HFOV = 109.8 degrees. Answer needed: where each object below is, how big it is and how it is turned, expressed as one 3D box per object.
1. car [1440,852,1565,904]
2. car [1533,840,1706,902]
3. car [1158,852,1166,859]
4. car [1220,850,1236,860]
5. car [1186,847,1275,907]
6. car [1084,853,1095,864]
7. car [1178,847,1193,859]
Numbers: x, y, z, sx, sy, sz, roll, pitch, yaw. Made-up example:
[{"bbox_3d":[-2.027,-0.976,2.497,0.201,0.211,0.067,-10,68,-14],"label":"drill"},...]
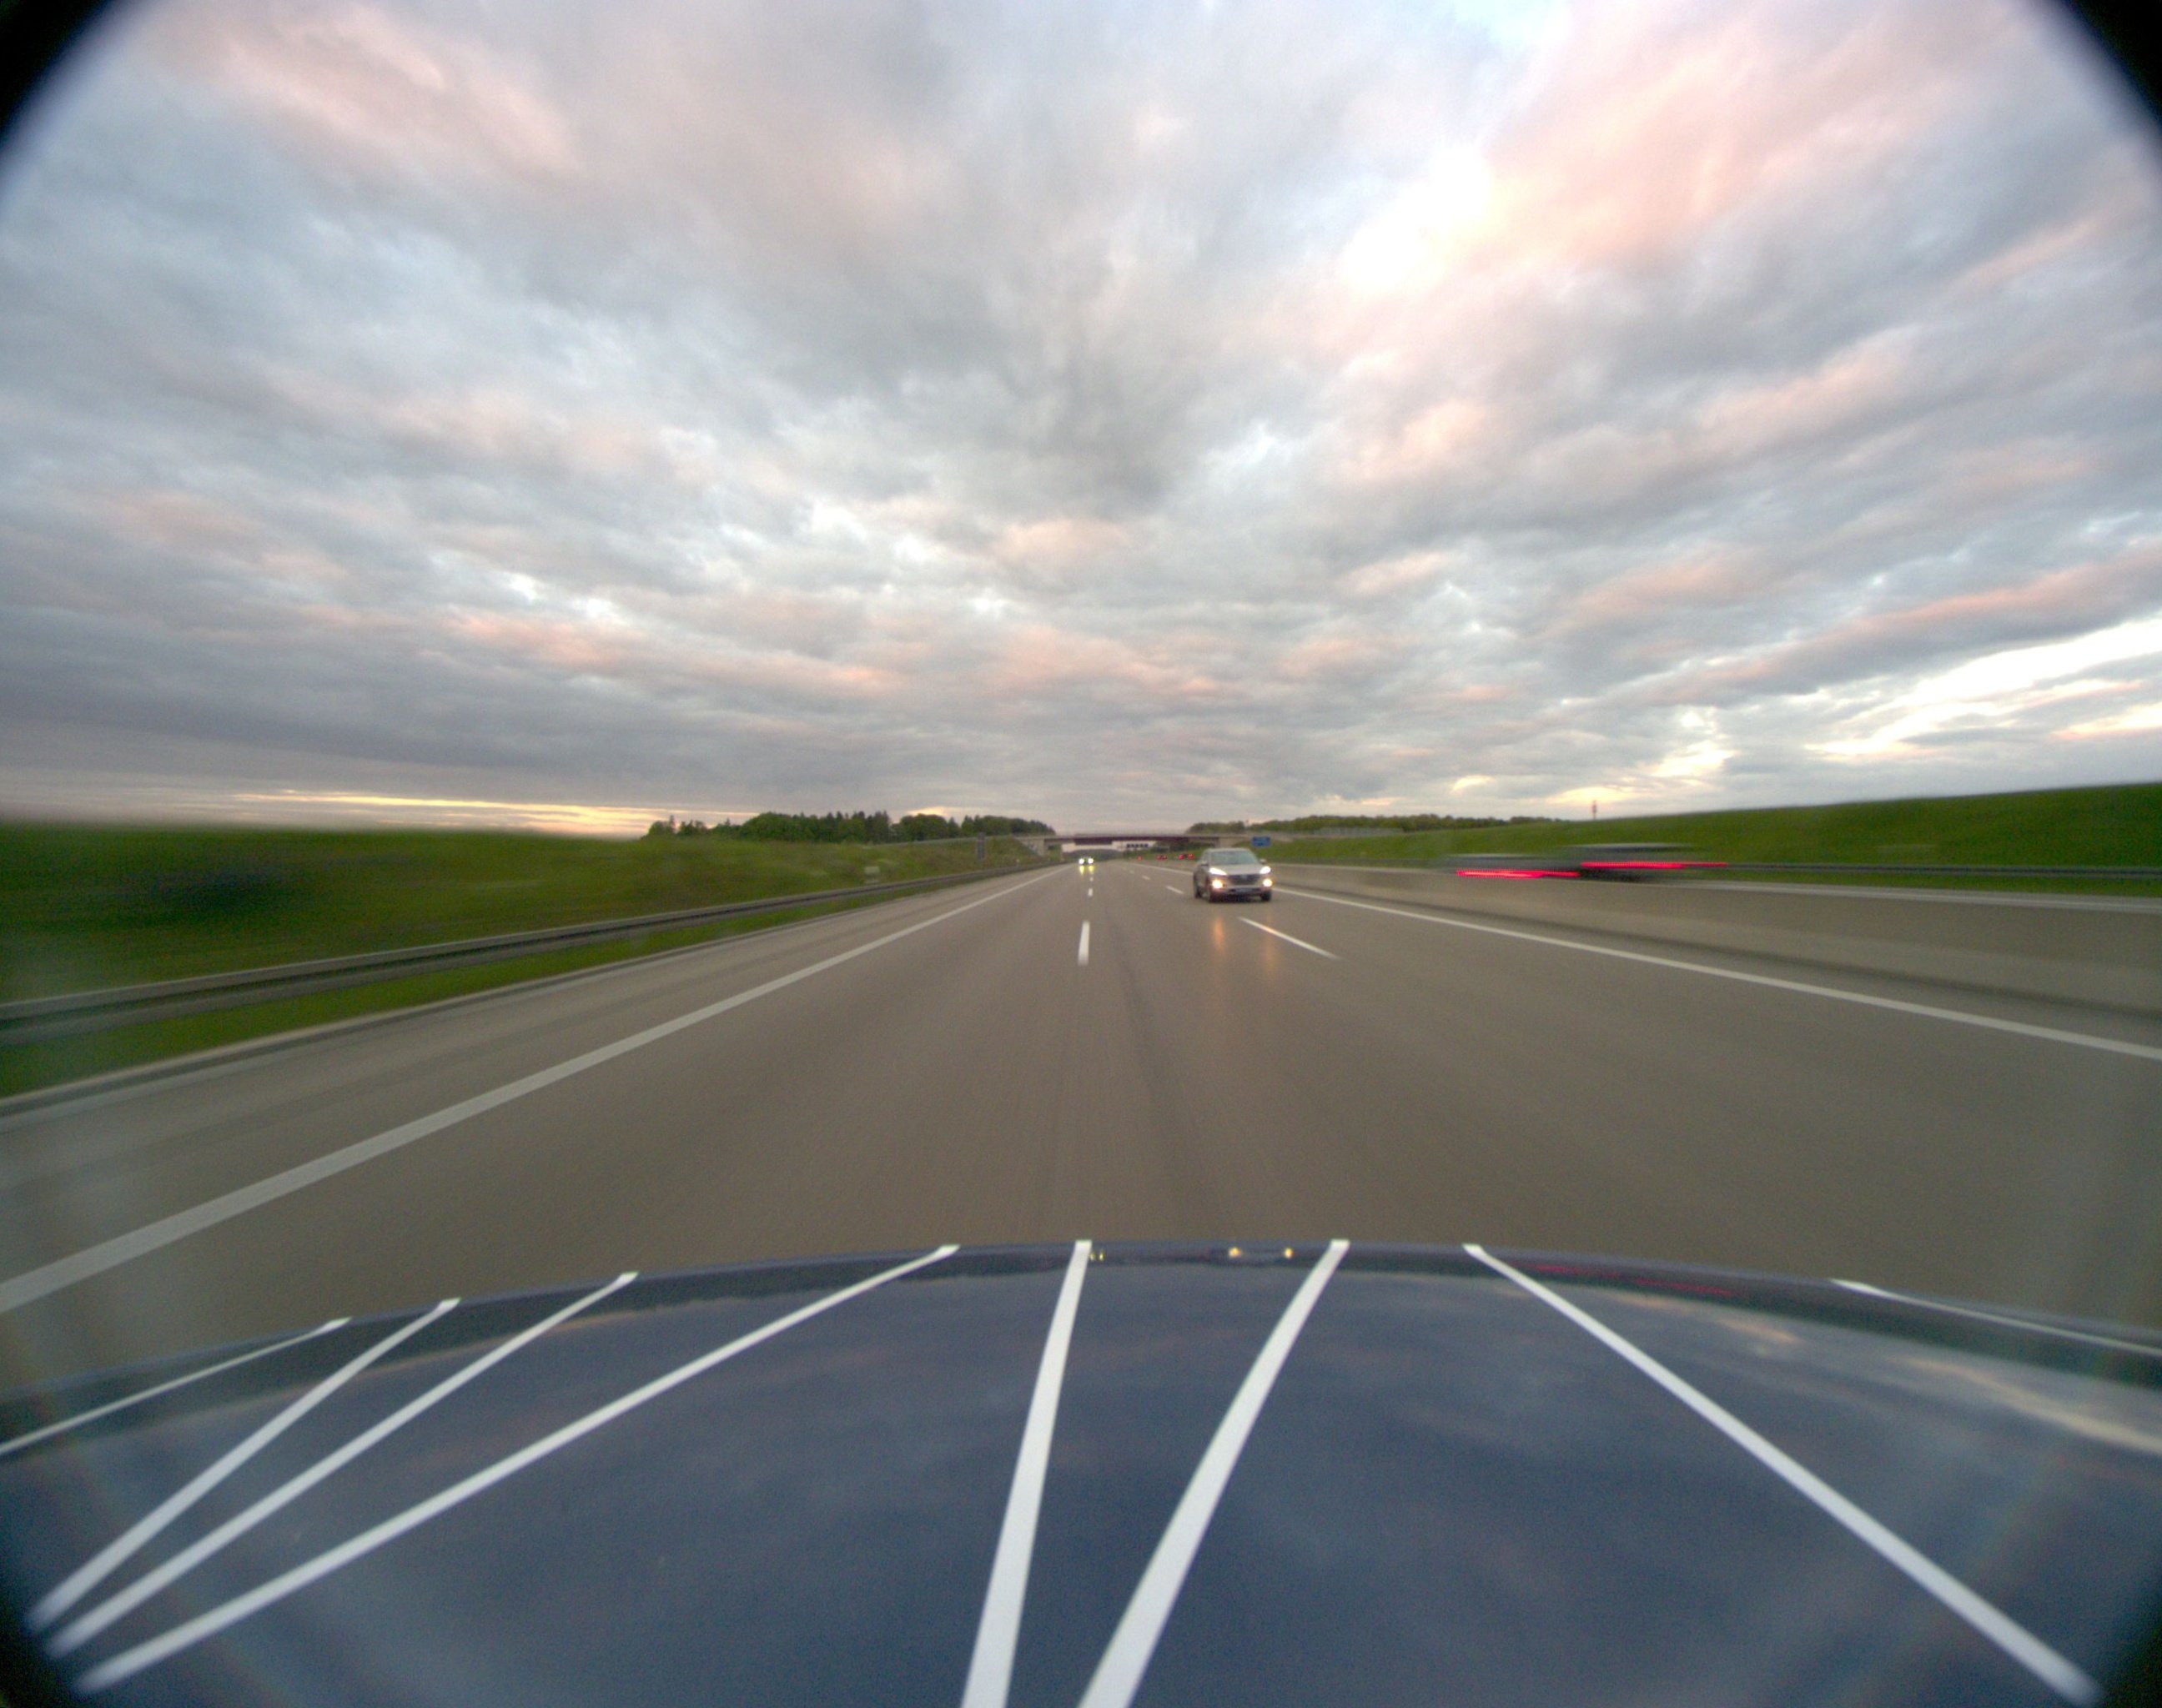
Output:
[{"bbox_3d":[13.417,0.702,24.482,1.743,1.490,4.130,-1,0,0],"label":"car"},{"bbox_3d":[17.428,0.496,24.997,2.105,1.800,5.021,-1,0,0],"label":"car"},{"bbox_3d":[24.889,0.384,233.349,1.998,1.925,5.090,-2,0,1],"label":"car"},{"bbox_3d":[23.050,0.197,119.046,1.634,1.508,4.426,-2,0,1],"label":"car"},{"bbox_3d":[4.679,0.640,24.548,1.857,1.683,5.512,-2,0,1],"label":"car"},{"bbox_3d":[1.467,0.713,129.522,1.801,1.674,4.385,-1,1,1],"label":"car"},{"bbox_3d":[19.380,-0.193,141.365,2.008,2.002,5.737,-1,0,1],"label":"car"}]
